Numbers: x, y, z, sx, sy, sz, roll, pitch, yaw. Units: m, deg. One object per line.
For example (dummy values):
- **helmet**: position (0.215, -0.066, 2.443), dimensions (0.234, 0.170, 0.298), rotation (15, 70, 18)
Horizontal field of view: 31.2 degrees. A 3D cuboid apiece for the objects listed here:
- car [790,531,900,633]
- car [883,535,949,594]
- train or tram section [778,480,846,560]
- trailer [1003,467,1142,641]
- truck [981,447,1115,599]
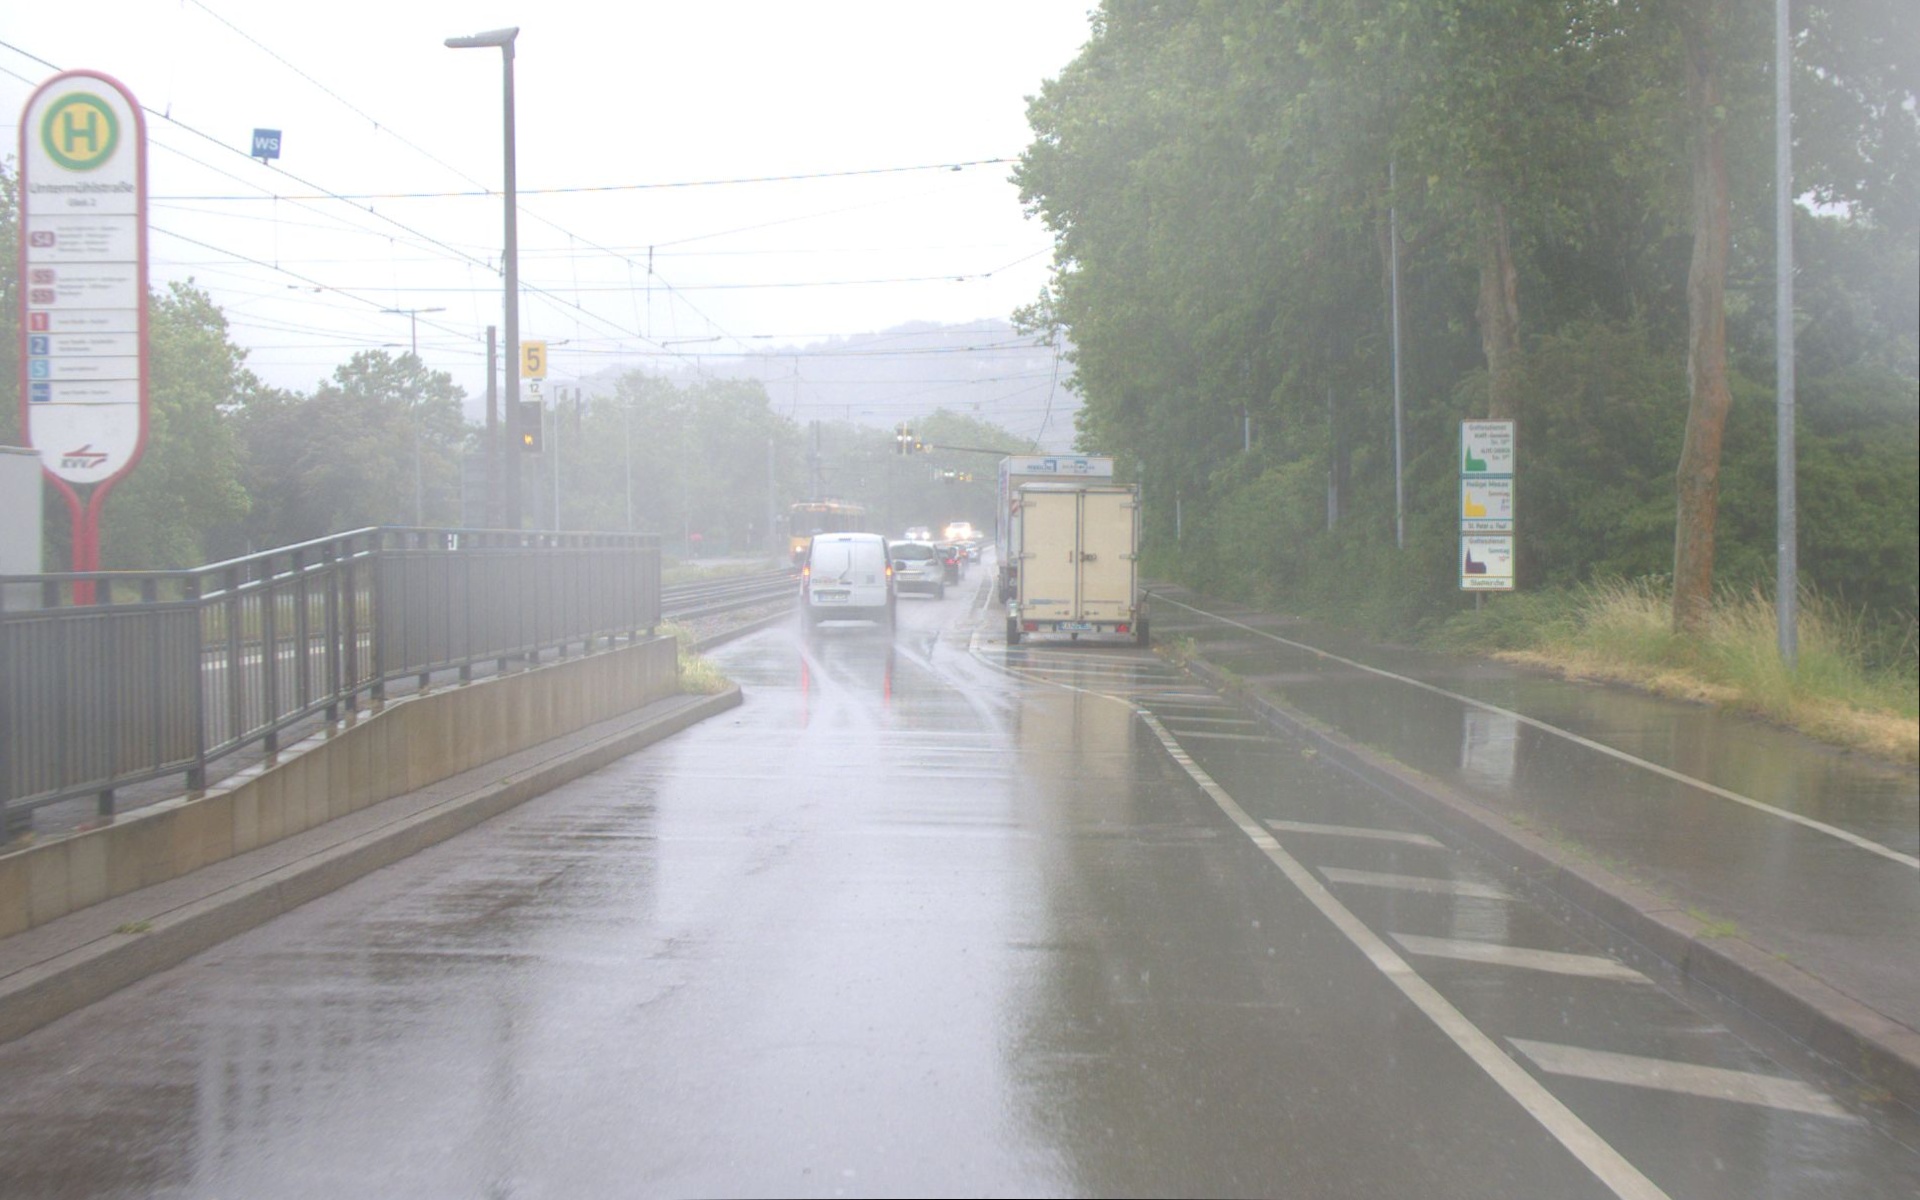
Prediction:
- **car**: position (-2.179, -0.357, 64.432), dimensions (1.993, 1.842, 4.001), rotation (0, 1, -3)
- **car**: position (-1.232, -0.997, 97.806), dimensions (1.786, 1.637, 3.968), rotation (0, 0, 1)
- **train or tram section**: position (-7.856, -4.233, 183.663), dimensions (2.807, 4.135, 13.019), rotation (0, 1, 1)
- **trailer**: position (1.936, -0.745, 57.413), dimensions (2.166, 2.748, 5.676), rotation (0, 0, 3)
- **truck**: position (2.172, -1.900, 88.704), dimensions (2.775, 3.691, 9.853), rotation (0, 0, -2)
